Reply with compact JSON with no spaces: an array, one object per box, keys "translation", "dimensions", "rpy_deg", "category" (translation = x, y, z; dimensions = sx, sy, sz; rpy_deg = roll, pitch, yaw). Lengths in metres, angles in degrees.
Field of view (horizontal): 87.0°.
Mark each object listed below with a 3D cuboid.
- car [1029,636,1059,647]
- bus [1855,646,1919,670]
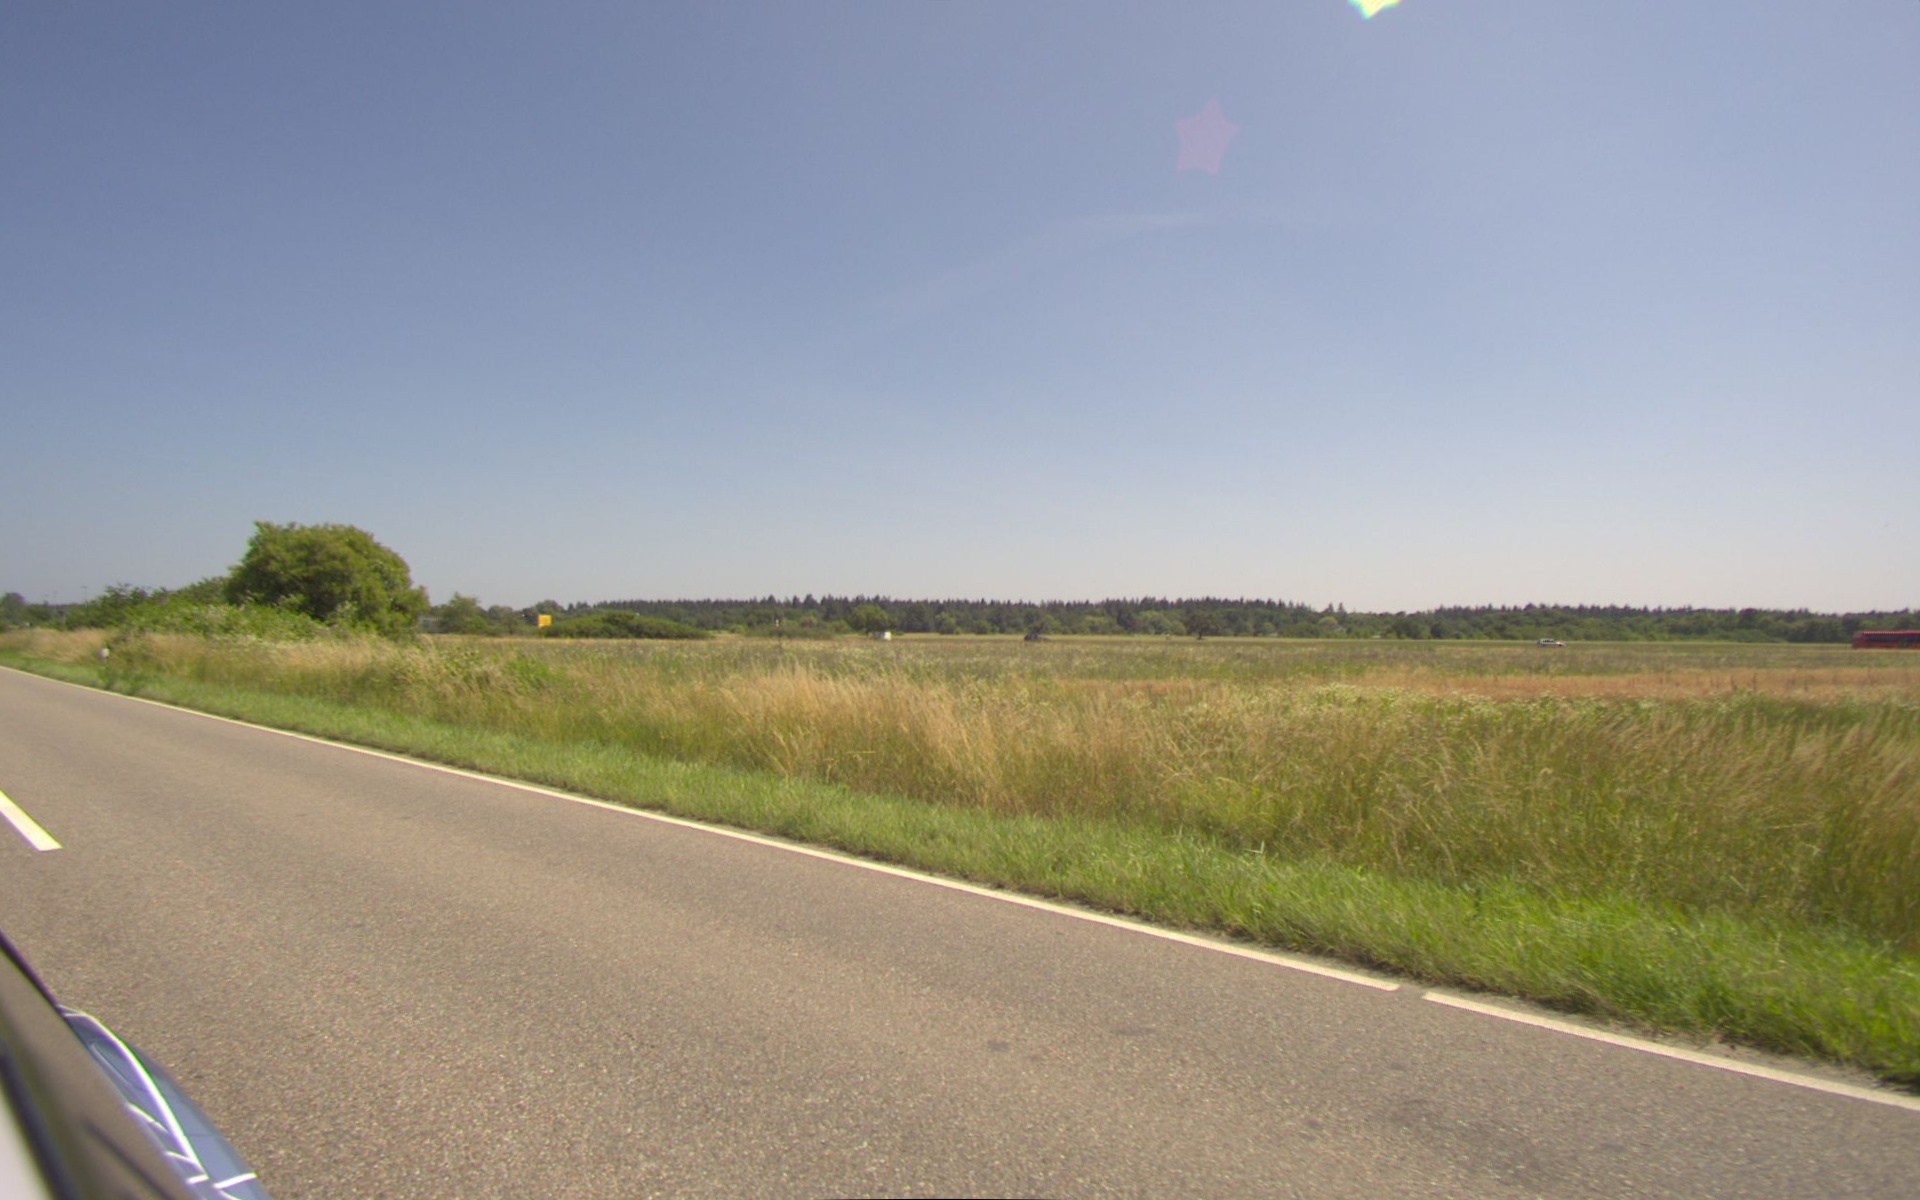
[{"translation":[13.955,6.935,168.918],"dimensions":[4.801,1.704,1.993],"rpy_deg":[0,-2,12],"category":"car"},{"translation":[139.980,8.552,149.288],"dimensions":[11.850,3.334,3.305],"rpy_deg":[0,-2,8],"category":"bus"}]
